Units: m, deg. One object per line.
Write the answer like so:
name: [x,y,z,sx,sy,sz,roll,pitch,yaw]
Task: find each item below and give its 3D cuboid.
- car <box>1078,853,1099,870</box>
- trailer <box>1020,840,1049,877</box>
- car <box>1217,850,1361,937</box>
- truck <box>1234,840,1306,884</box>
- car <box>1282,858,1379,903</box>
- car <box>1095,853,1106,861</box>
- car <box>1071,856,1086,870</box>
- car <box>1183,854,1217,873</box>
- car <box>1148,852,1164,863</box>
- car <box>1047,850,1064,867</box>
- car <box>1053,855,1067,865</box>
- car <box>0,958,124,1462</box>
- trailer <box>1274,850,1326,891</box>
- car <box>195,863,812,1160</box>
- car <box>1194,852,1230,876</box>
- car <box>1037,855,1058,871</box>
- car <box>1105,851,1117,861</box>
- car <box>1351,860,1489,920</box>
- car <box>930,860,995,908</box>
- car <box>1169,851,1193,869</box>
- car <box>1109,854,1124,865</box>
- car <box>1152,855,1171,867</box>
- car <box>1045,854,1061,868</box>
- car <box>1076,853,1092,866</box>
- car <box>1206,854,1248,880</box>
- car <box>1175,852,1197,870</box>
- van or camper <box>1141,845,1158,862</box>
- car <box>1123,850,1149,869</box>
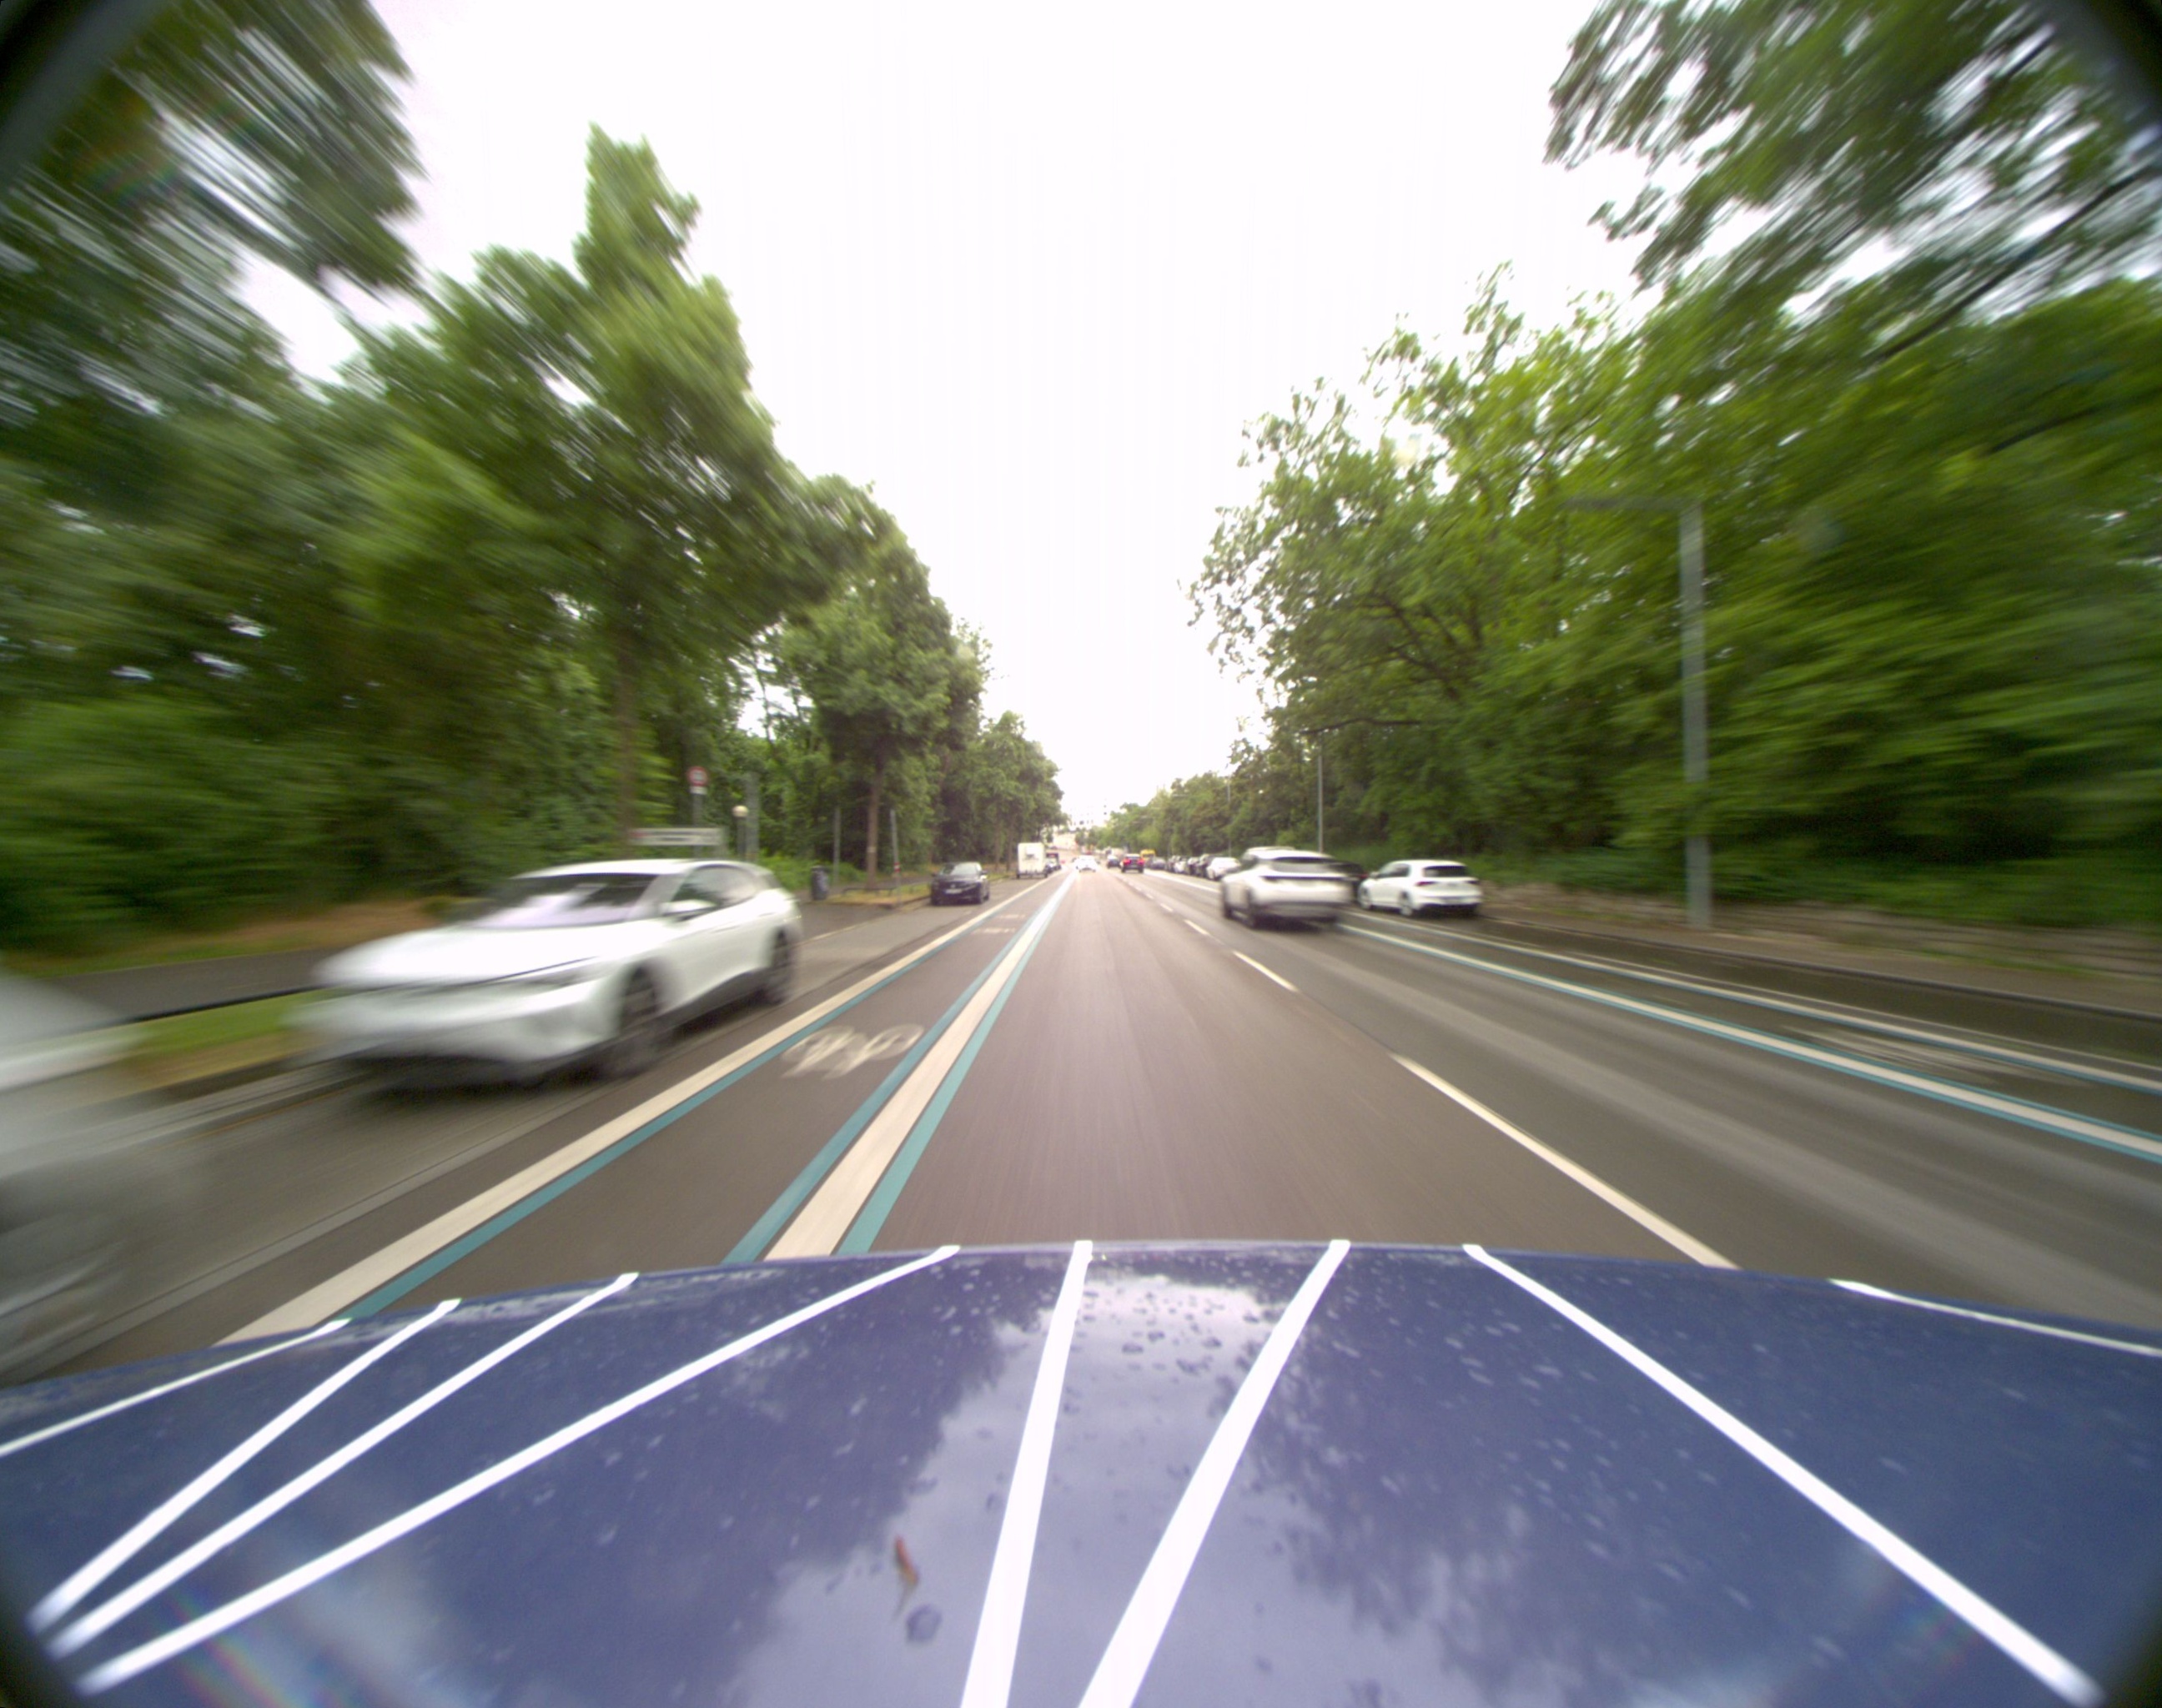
car: [0.800,0.716,75.992,1.998,1.589,4.000,-1,0,1]
trailer: [-3.382,0.293,55.587,1.988,2.550,3.999,-1,0,-2]
car: [4.368,0.748,16.747,1.959,1.629,4.444,1,0,0]
truck: [9.284,0.376,37.820,2.099,2.002,5.158,-1,0,-3]
car: [8.780,0.886,27.161,1.826,1.390,4.444,-1,0,-2]
car: [3.826,0.576,149.593,1.805,1.394,3.999,-1,0,-3]
car: [-0.306,1.126,98.576,1.850,1.719,3.730,-1,0,1]
car: [9.429,0.737,60.578,1.901,1.466,4.553,-1,0,0]
car: [10.027,0.471,101.683,1.825,1.470,3.559,-1,0,1]
car: [-3.434,0.596,103.293,1.998,2.231,3.999,-2,1,1]
car: [-3.074,0.926,112.985,1.862,1.361,3.999,-2,1,1]
car: [-4.057,1.104,0.537,1.702,1.445,3.946,-2,0,0]
trailer: [9.326,0.668,32.364,1.347,1.648,2.271,0,1,39]
car: [-4.230,0.967,6.794,1.998,1.652,4.562,-1,0,0]
car: [9.347,0.671,54.408,1.740,1.651,4.673,0,0,0]
car: [-3.179,0.830,72.736,1.804,1.455,4.000,-1,0,0]
car: [4.903,0.331,124.875,1.790,1.570,4.258,1,0,0]
car: [9.066,0.895,20.748,1.759,1.427,4.356,0,0,-1]
car: [-4.079,0.987,26.654,1.700,1.468,3.997,-1,0,-1]
car: [9.205,0.560,70.382,1.819,1.579,3.992,0,0,2]
car: [4.740,0.752,101.857,1.769,1.449,4.496,1,0,1]
car: [9.091,0.773,86.009,1.825,1.285,4.206,-1,0,1]
car: [-3.362,0.820,91.491,1.804,1.589,4.000,-1,0,0]
car: [0.413,0.664,97.813,1.998,1.629,4.000,0,1,1]
car: [9.120,0.759,47.881,1.811,1.489,4.752,0,1,1]
car: [9.106,0.608,65.999,1.527,1.584,2.860,0,0,0]
van or camper: [10.100,-0.118,111.793,2.165,2.437,4.436,-1,0,1]
car: [4.987,0.498,69.446,2.043,1.639,4.477,0,0,1]
